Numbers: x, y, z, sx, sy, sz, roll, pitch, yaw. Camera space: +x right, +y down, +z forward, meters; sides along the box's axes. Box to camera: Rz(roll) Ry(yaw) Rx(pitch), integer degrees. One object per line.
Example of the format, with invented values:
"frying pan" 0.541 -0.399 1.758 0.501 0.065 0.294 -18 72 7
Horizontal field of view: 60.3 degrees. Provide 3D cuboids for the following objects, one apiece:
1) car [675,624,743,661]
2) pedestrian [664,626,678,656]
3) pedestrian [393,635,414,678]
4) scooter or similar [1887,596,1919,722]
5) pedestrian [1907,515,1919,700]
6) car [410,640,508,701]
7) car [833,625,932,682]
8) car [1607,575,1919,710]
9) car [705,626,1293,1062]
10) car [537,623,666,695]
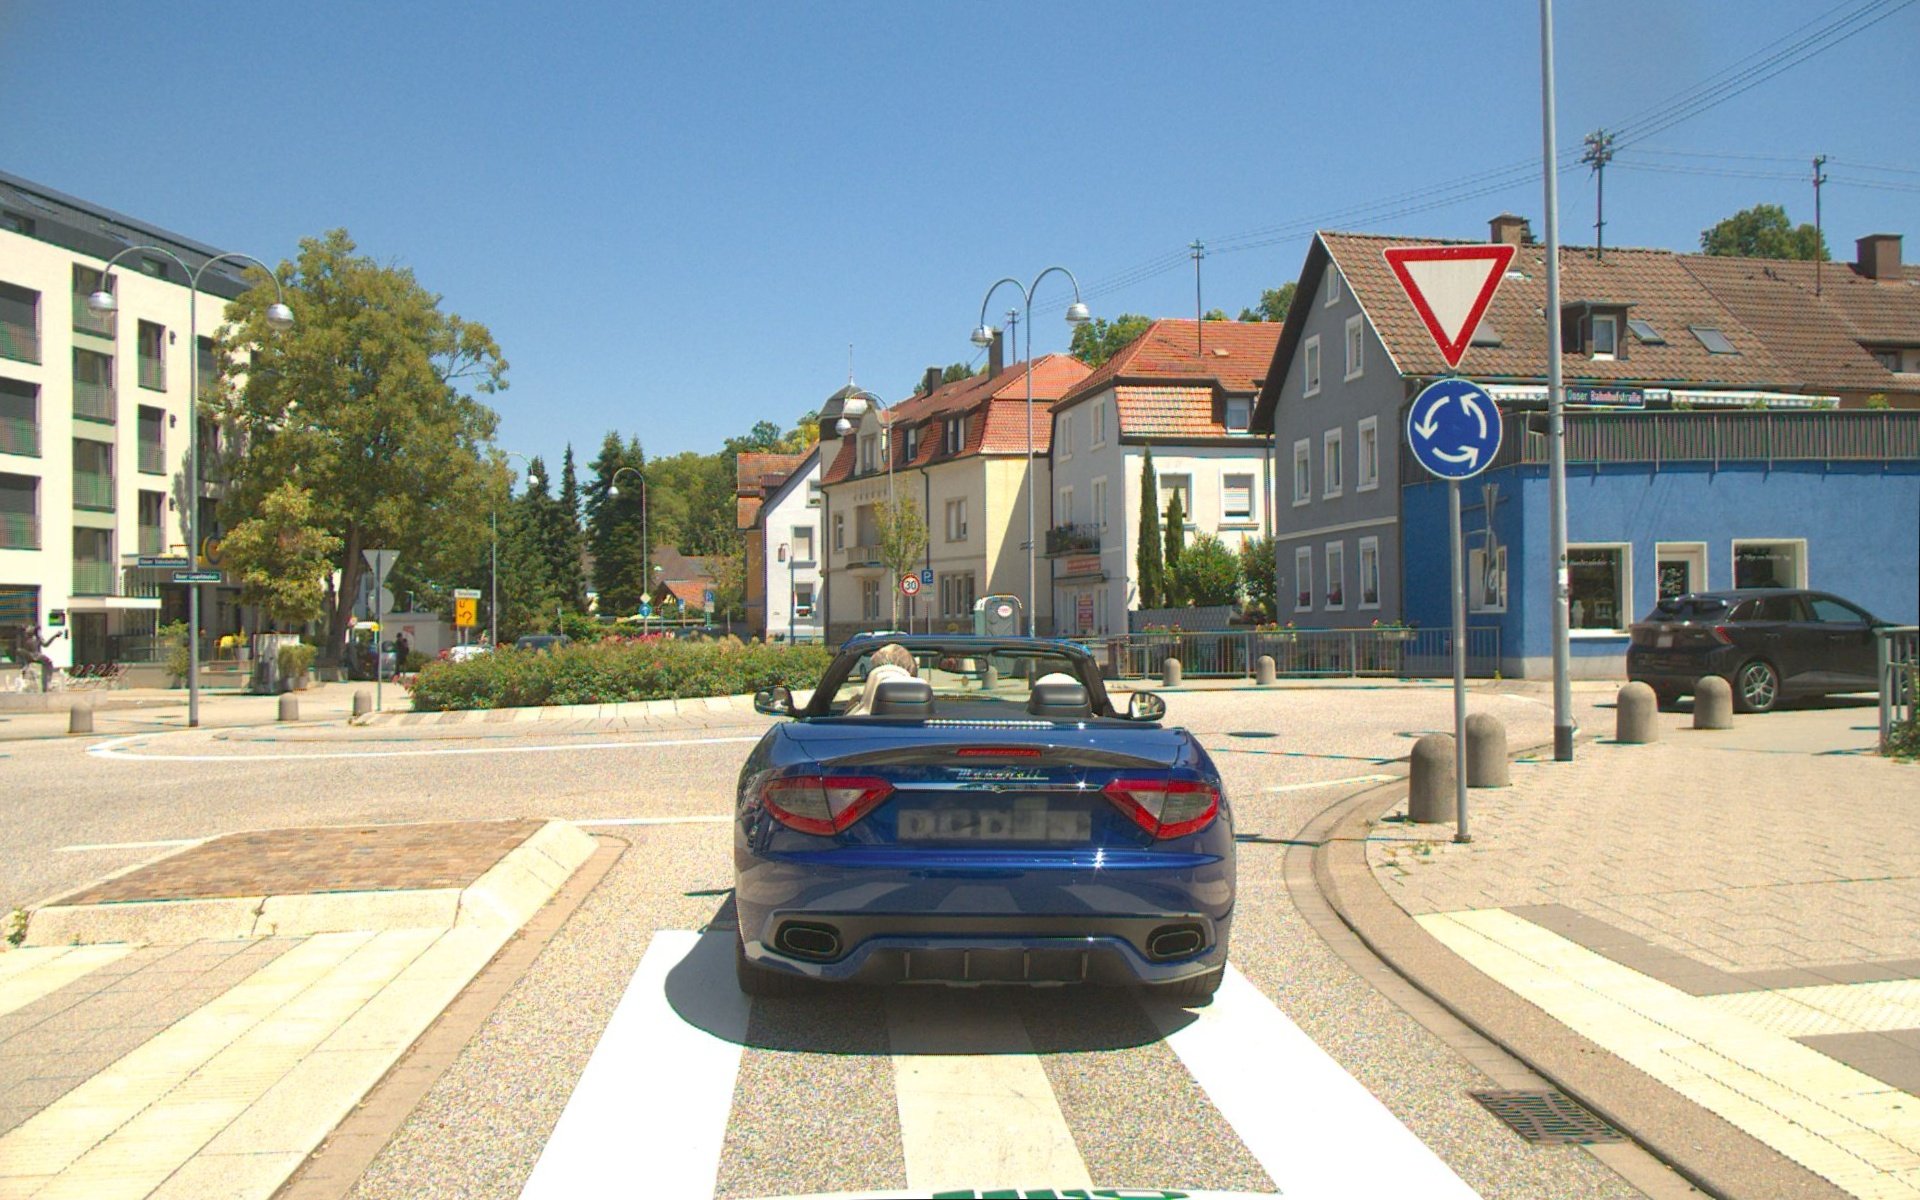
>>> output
"car" -11.951 2.028 78.616 1.831 1.616 3.958 -2 -1 -31
"pedestrian" -15.562 2.198 89.095 0.604 1.613 0.582 -1 -1 -27
"pedestrian" -21.005 2.126 62.430 0.523 1.603 0.563 -2 -1 10
"scooter or similar" 9.771 0.582 16.470 0.517 1.244 1.241 -2 -1 10
"pedestrian" 9.928 0.052 16.322 0.728 1.831 0.673 -2 0 -30
"car" -13.449 1.865 44.582 1.956 1.536 3.992 0 -1 -9
"car" -2.477 1.701 51.796 1.891 1.641 4.122 -1 -2 -20
"car" 10.824 0.506 21.710 4.185 1.574 1.801 -1 0 -20
"car" 0.141 0.811 7.418 1.871 1.384 4.285 0 -1 0
"car" -8.847 1.431 41.169 1.759 1.671 4.062 -2 -1 9
